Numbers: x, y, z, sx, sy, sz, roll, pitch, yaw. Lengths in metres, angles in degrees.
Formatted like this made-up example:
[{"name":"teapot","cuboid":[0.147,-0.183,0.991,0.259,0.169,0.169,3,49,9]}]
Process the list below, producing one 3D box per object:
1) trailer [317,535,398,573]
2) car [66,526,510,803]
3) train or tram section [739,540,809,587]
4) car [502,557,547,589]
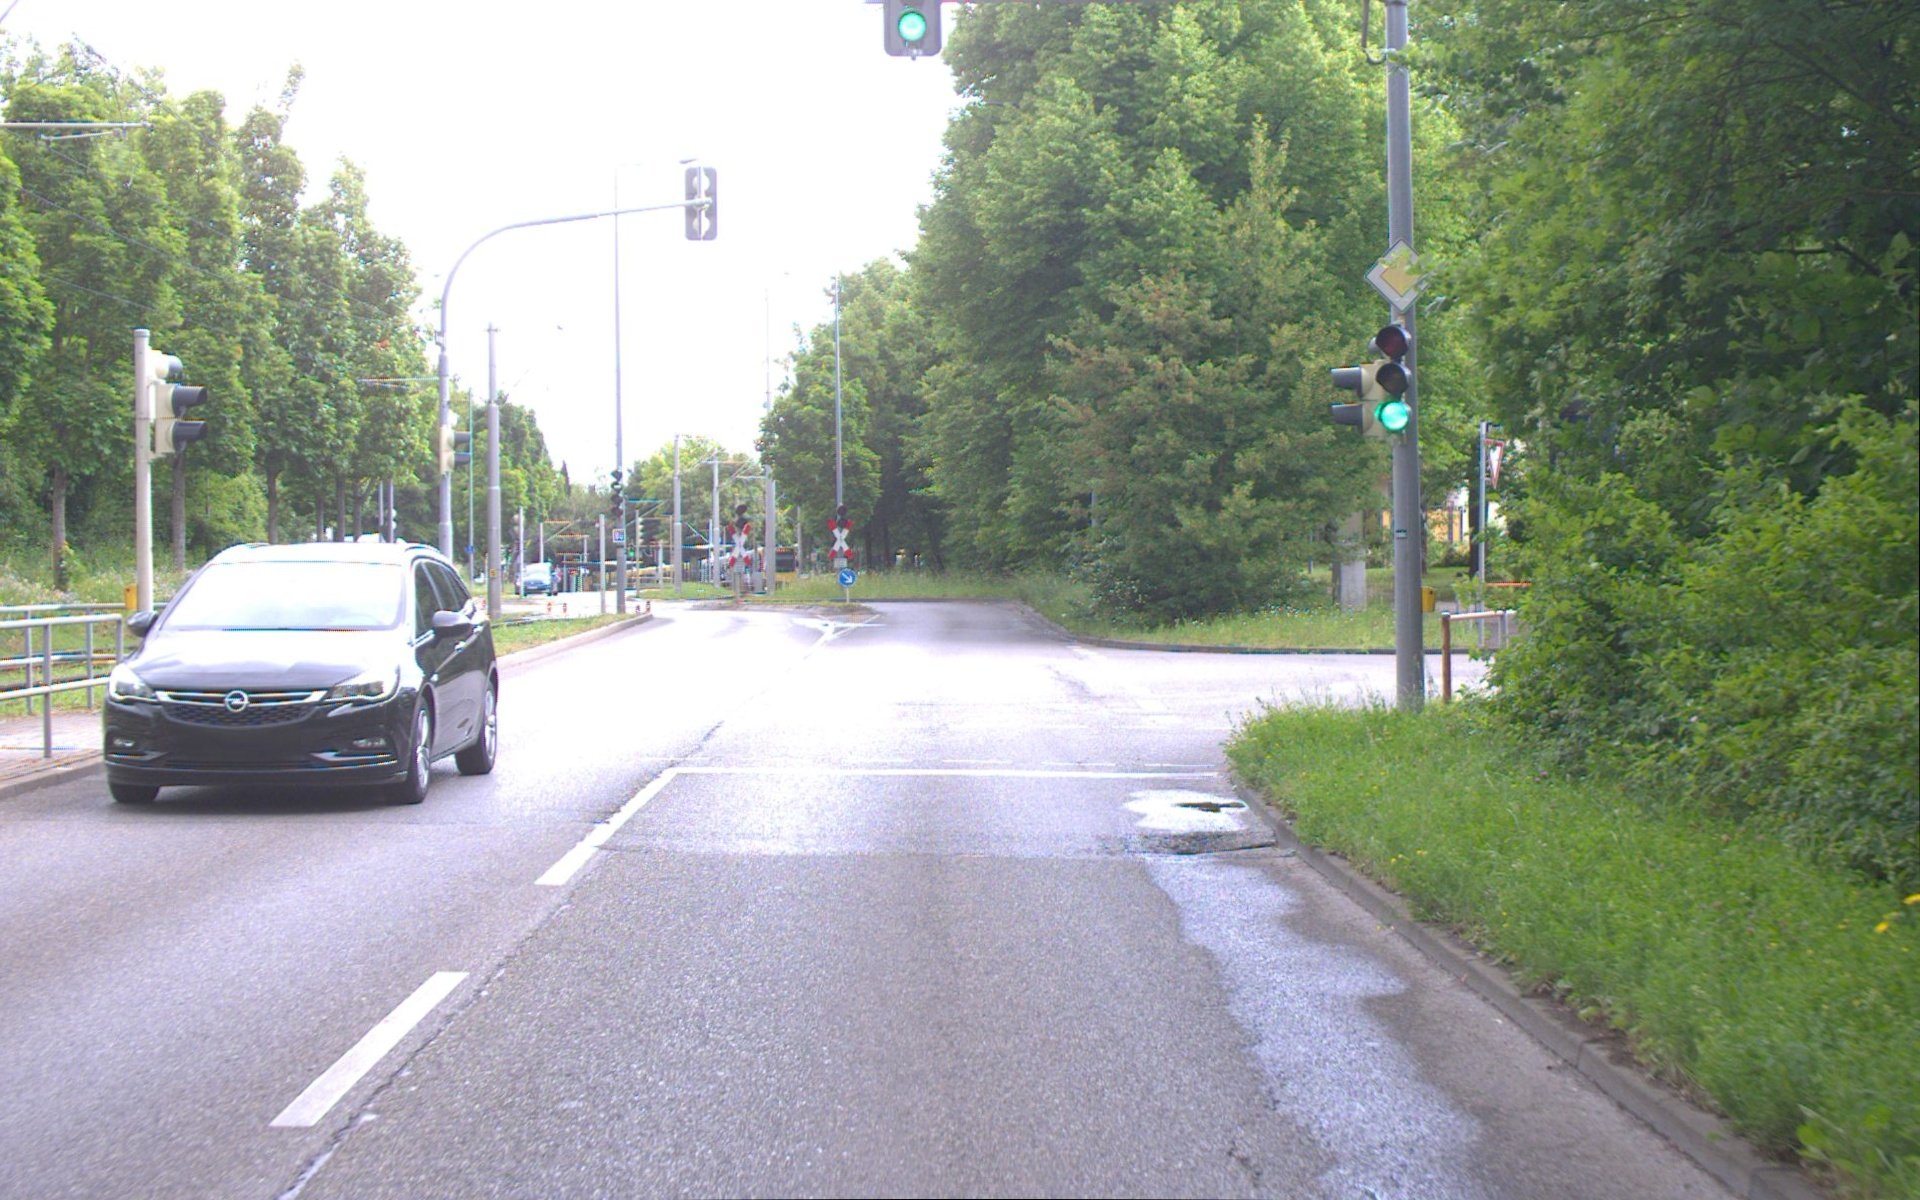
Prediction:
[{"name":"trailer","cuboid":[-32.254,-2.457,184.146,3.987,2.007,1.908,0,0,-1]},{"name":"car","cuboid":[-3.885,0.301,20.570,1.850,1.465,4.256,1,1,0]},{"name":"train or tram section","cuboid":[-14.175,-2.697,259.198,3.007,3.299,34.717,0,0,-7]},{"name":"car","cuboid":[-21.377,-1.336,168.946,1.867,1.515,4.239,0,1,-3]}]
